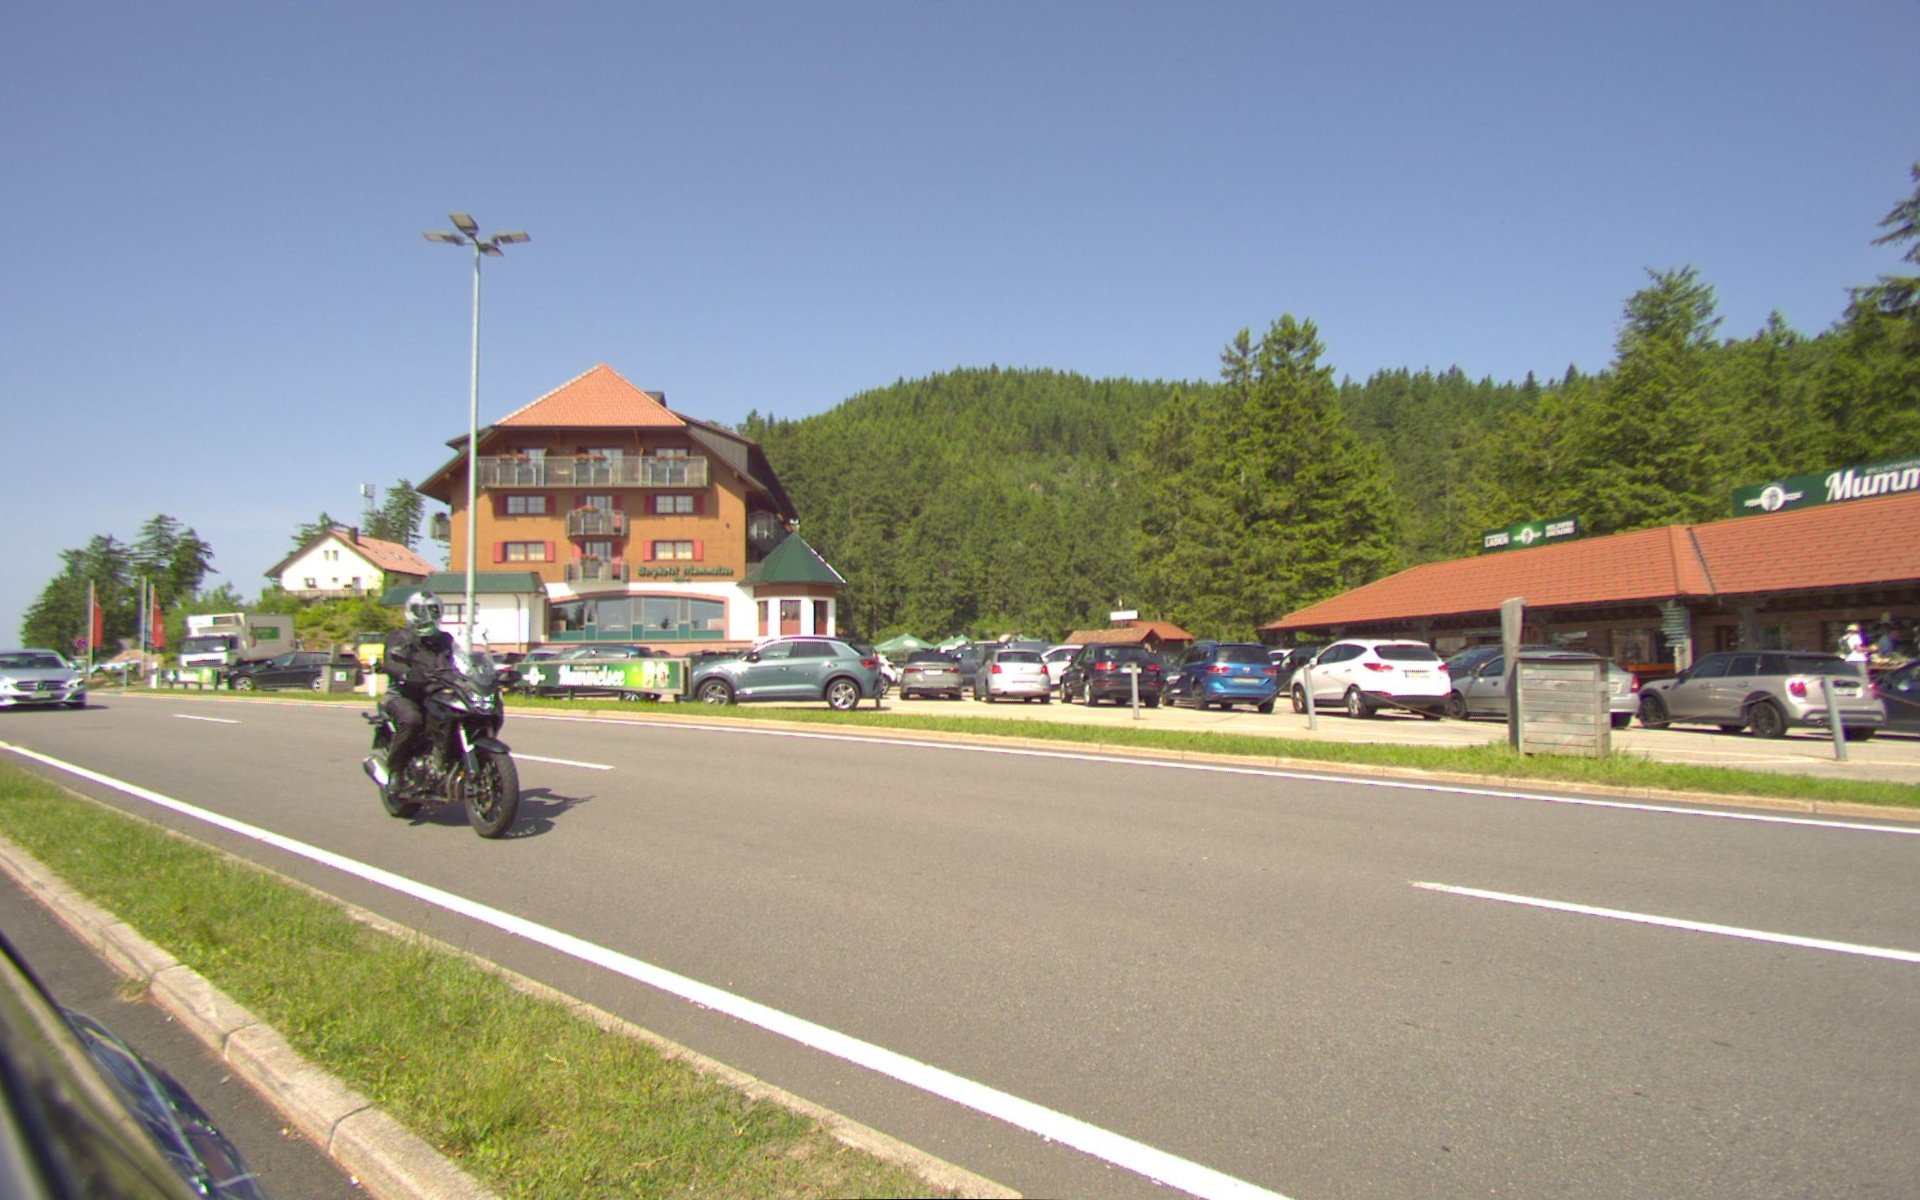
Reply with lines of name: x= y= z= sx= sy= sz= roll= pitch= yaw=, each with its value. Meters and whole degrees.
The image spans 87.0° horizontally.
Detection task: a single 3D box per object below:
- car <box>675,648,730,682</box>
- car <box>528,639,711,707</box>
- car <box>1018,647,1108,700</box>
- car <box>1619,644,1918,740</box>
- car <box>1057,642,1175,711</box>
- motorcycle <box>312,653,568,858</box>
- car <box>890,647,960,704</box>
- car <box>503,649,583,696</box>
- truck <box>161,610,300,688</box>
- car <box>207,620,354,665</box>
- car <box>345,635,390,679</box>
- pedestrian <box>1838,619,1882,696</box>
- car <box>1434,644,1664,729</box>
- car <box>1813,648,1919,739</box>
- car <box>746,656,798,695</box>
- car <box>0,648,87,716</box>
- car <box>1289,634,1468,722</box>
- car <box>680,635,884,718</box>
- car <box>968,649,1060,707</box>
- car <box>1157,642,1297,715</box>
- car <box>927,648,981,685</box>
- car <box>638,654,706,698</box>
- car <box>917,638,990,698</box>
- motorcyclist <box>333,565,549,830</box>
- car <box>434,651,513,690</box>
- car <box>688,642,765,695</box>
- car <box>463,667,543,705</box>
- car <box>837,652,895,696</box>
car: x=-11.285 y=2.883 z=44.511 sx=1.904 sy=1.429 sz=4.006 roll=0 pitch=-5 yaw=-8
car: x=-8.326 y=1.805 z=24.994 sx=3.944 sy=1.564 sz=1.782 roll=-1 pitch=-4 yaw=1
car: x=3.240 y=2.384 z=32.732 sx=1.968 sy=1.586 sz=4.006 roll=0 pitch=-5 yaw=-8
car: x=13.592 y=1.556 z=17.384 sx=1.659 sy=1.430 sz=4.003 roll=1 pitch=-5 yaw=-5
car: x=3.813 y=1.928 z=25.488 sx=1.969 sy=1.586 sz=4.004 roll=0 pitch=-5 yaw=-5
motorcycle: x=-3.907 y=1.046 z=7.501 sx=2.275 sy=1.266 sz=0.867 roll=-2 pitch=-2 yaw=40
car: x=-1.090 y=2.231 z=29.781 sx=1.871 sy=1.557 sz=4.003 roll=0 pitch=-5 yaw=-4
car: x=-17.776 y=3.130 z=43.373 sx=1.808 sy=1.878 sz=4.533 roll=-1 pitch=-5 yaw=-3
truck: x=-41.660 y=2.727 z=58.234 sx=3.020 sy=4.002 sz=8.791 roll=-3 pitch=-1 yaw=-11
car: x=-25.144 y=1.600 z=37.560 sx=4.128 sy=1.552 sz=1.809 roll=0 pitch=-5 yaw=-5
car: x=-35.006 y=3.402 z=59.742 sx=1.966 sy=2.515 sz=4.010 roll=2 pitch=-6 yaw=-34
pedestrian: x=22.424 y=1.435 z=25.216 sx=0.539 sy=1.888 sz=0.529 roll=0 pitch=-3 yaw=-7
car: x=11.272 y=1.677 z=19.747 sx=1.749 sy=1.479 sz=4.031 roll=1 pitch=-5 yaw=-6
car: x=16.009 y=1.475 z=15.839 sx=1.659 sy=1.430 sz=4.003 roll=1 pitch=-5 yaw=-5
car: x=-7.884 y=3.187 z=42.658 sx=1.968 sy=1.564 sz=4.006 roll=0 pitch=-5 yaw=-8
car: x=-22.084 y=1.930 z=23.711 sx=3.996 sy=1.468 sz=1.758 roll=-5 pitch=-6 yaw=39
car: x=8.761 y=1.679 z=21.626 sx=1.749 sy=1.685 sz=4.036 roll=1 pitch=-5 yaw=-6
car: x=-3.597 y=1.558 z=20.971 sx=3.998 sy=1.579 sz=1.742 roll=0 pitch=-3 yaw=-4
car: x=1.361 y=2.096 z=27.191 sx=1.878 sy=1.431 sz=4.004 roll=0 pitch=-5 yaw=-5
car: x=6.320 y=1.897 z=24.459 sx=1.969 sy=1.586 sz=4.004 roll=0 pitch=-5 yaw=-5
car: x=-0.302 y=3.005 z=45.129 sx=1.880 sy=1.542 sz=3.887 roll=0 pitch=-5 yaw=-8
car: x=-10.580 y=2.829 z=37.439 sx=1.690 sy=1.497 sz=4.084 roll=0 pitch=-5 yaw=-6
car: x=-0.295 y=2.357 z=34.600 sx=1.968 sy=1.918 sz=4.006 roll=0 pitch=-5 yaw=-8
motorcyclist: x=-3.825 y=0.660 z=7.431 sx=1.450 sy=1.731 sz=0.914 roll=-2 pitch=-2 yaw=39
car: x=-22.683 y=3.276 z=47.351 sx=1.910 sy=1.676 sz=4.551 roll=0 pitch=-4 yaw=-6
car: x=-8.066 y=2.423 z=35.263 sx=1.800 sy=1.717 sz=3.999 roll=-1 pitch=-5 yaw=-1
car: x=-20.144 y=3.798 z=44.819 sx=1.970 sy=1.558 sz=4.003 roll=0 pitch=-5 yaw=-4
car: x=-3.583 y=2.794 z=38.057 sx=1.968 sy=1.564 sz=4.006 roll=0 pitch=-5 yaw=-8
